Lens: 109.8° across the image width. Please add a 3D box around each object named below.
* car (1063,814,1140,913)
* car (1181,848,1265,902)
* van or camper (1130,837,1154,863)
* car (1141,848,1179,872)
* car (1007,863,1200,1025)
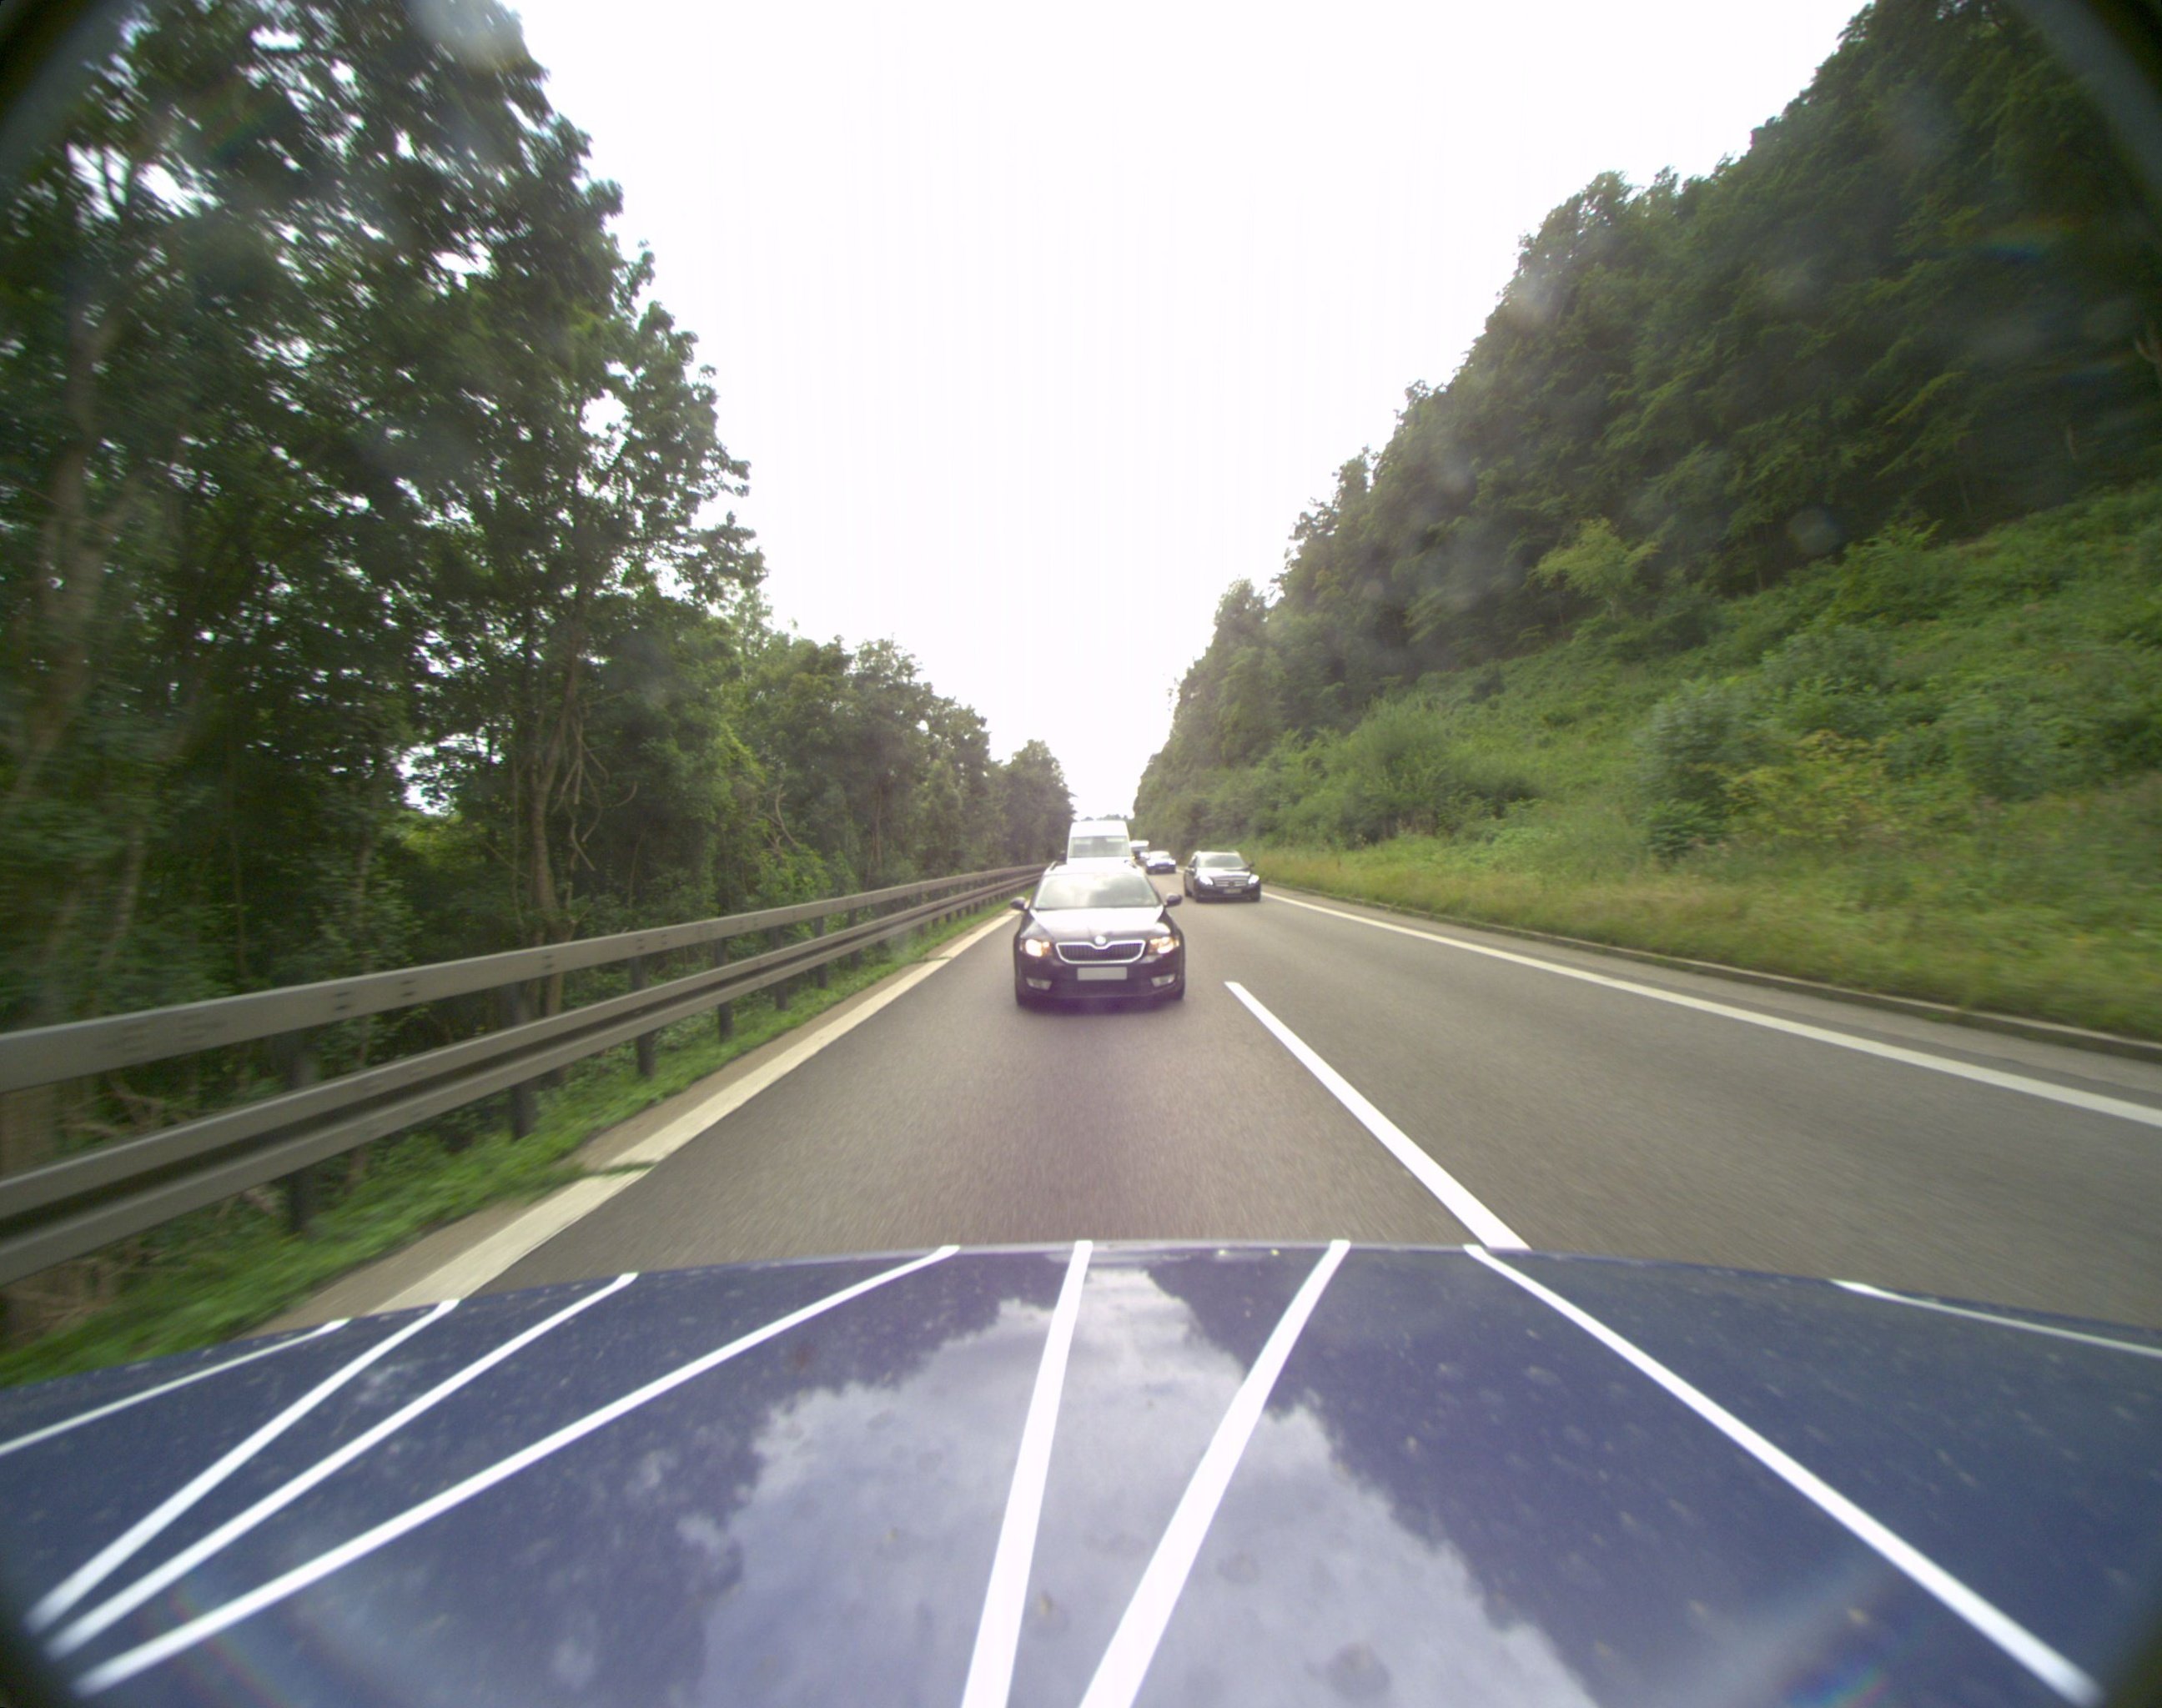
[{"bbox_3d":[0.614,0.228,22.461,2.001,2.545,5.128,-1,1,2],"label":"car"},{"bbox_3d":[4.228,0.576,23.363,1.765,1.455,5.123,-1,0,2],"label":"car"},{"bbox_3d":[6.621,-0.409,83.601,2.270,2.719,7.024,-1,0,2],"label":"van or camper"},{"bbox_3d":[5.154,0.348,49.993,1.841,1.460,4.554,-1,0,-2],"label":"car"},{"bbox_3d":[0.206,0.853,9.161,1.751,1.409,4.401,-1,0,0],"label":"car"}]
